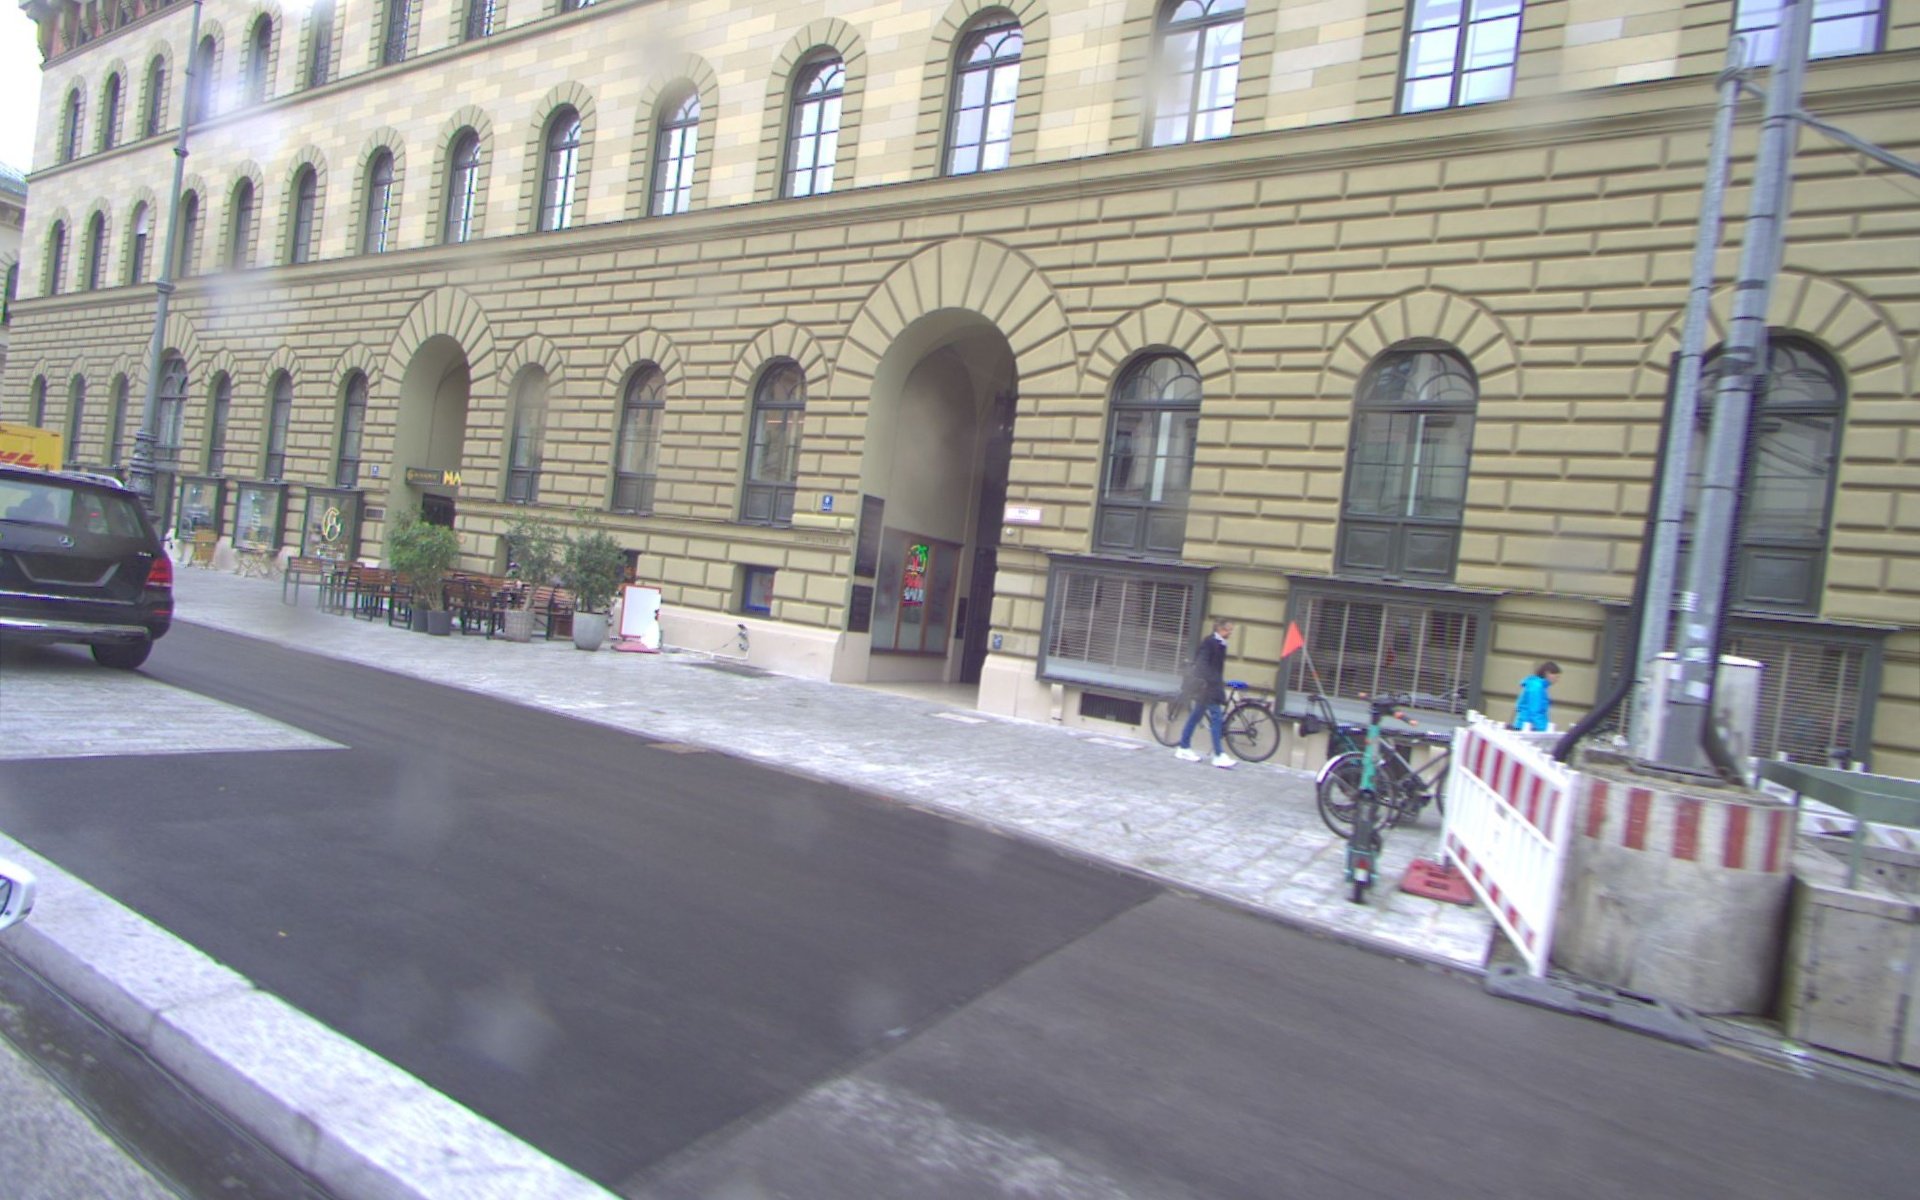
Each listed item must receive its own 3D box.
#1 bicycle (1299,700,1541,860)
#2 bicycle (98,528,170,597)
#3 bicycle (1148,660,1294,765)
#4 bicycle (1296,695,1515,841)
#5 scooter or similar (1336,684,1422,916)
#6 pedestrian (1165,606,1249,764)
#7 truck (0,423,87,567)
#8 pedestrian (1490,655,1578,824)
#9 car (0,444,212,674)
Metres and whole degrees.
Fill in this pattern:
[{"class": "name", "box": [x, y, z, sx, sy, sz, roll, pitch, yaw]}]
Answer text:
[{"class": "bicycle", "box": [3.697, 1.434, 8.172, 1.619, 1.034, 0.520, 6, 0, 5]}, {"class": "bicycle", "box": [-13.795, -0.637, 16.782, 1.626, 1.034, 0.518, 5, -1, 38]}, {"class": "bicycle", "box": [3.245, 1.382, 12.576, 1.624, 1.035, 0.377, 7, 0, 34]}, {"class": "bicycle", "box": [3.933, 1.472, 8.960, 1.619, 1.034, 0.520, 6, 0, 5]}, {"class": "scooter or similar", "box": [2.661, 1.219, 6.457, 0.292, 1.266, 1.140, 6, 1, 18]}, {"class": "pedestrian", "box": [2.881, 0.981, 11.717, 0.665, 1.732, 0.558, 6, 0, 29]}, {"class": "truck", "box": [-22.109, -2.437, 22.354, 5.716, 2.798, 2.624, 5, -1, 35]}, {"class": "pedestrian", "box": [5.769, 1.382, 10.132, 0.620, 1.573, 0.499, 6, 0, 29]}, {"class": "car", "box": [-8.856, -0.495, 8.774, 4.150, 1.681, 2.074, 7, -2, 29]}]
